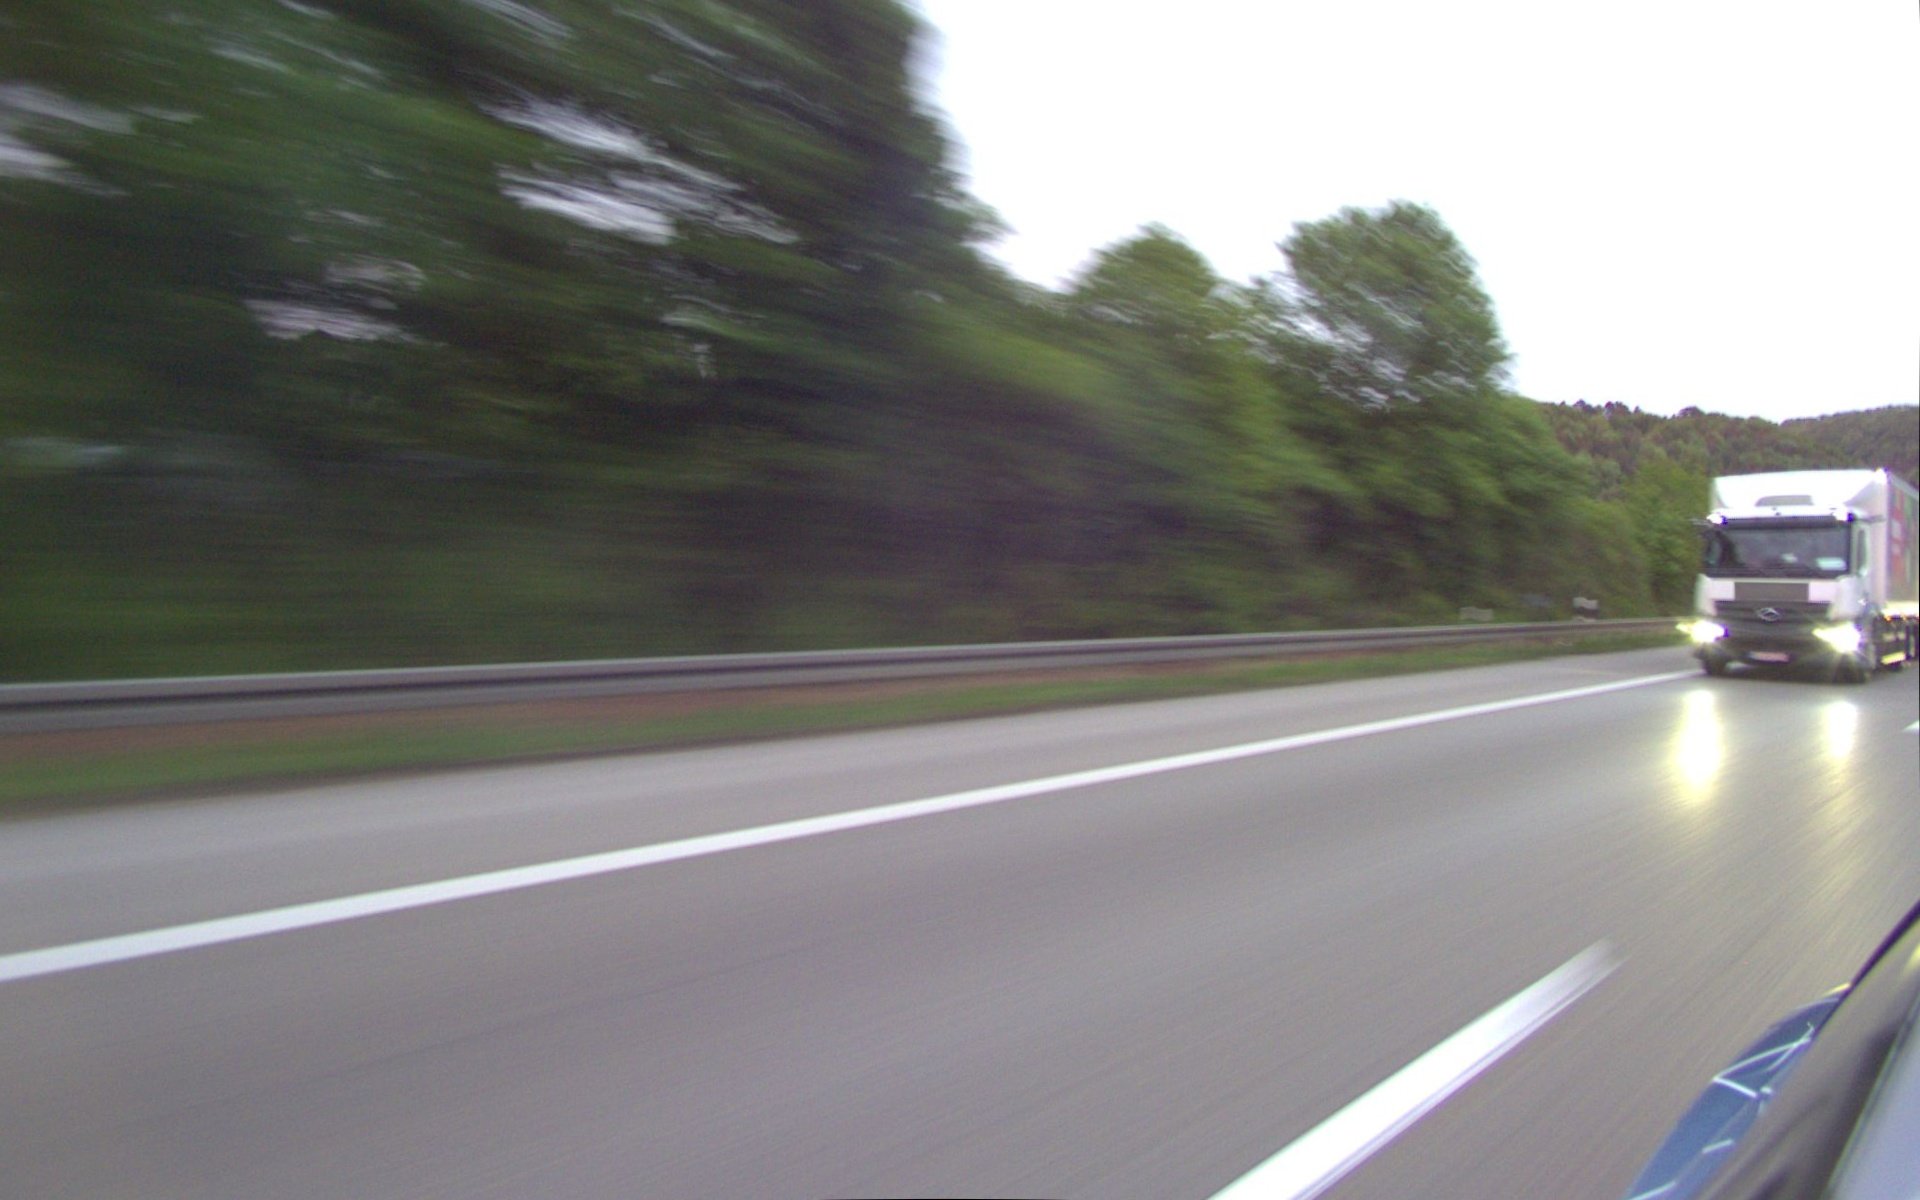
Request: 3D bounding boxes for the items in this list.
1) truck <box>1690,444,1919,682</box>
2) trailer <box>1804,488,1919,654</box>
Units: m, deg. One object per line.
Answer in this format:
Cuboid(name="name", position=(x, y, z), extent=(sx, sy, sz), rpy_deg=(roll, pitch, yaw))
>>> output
Cuboid(name="truck", position=(18.113, -0.723, 20.871), extent=(10.205, 3.874, 2.621), rpy_deg=(-1, 2, -41))
Cuboid(name="trailer", position=(25.259, -0.761, 27.109), extent=(8.723, 3.874, 2.621), rpy_deg=(-1, 2, -41))
